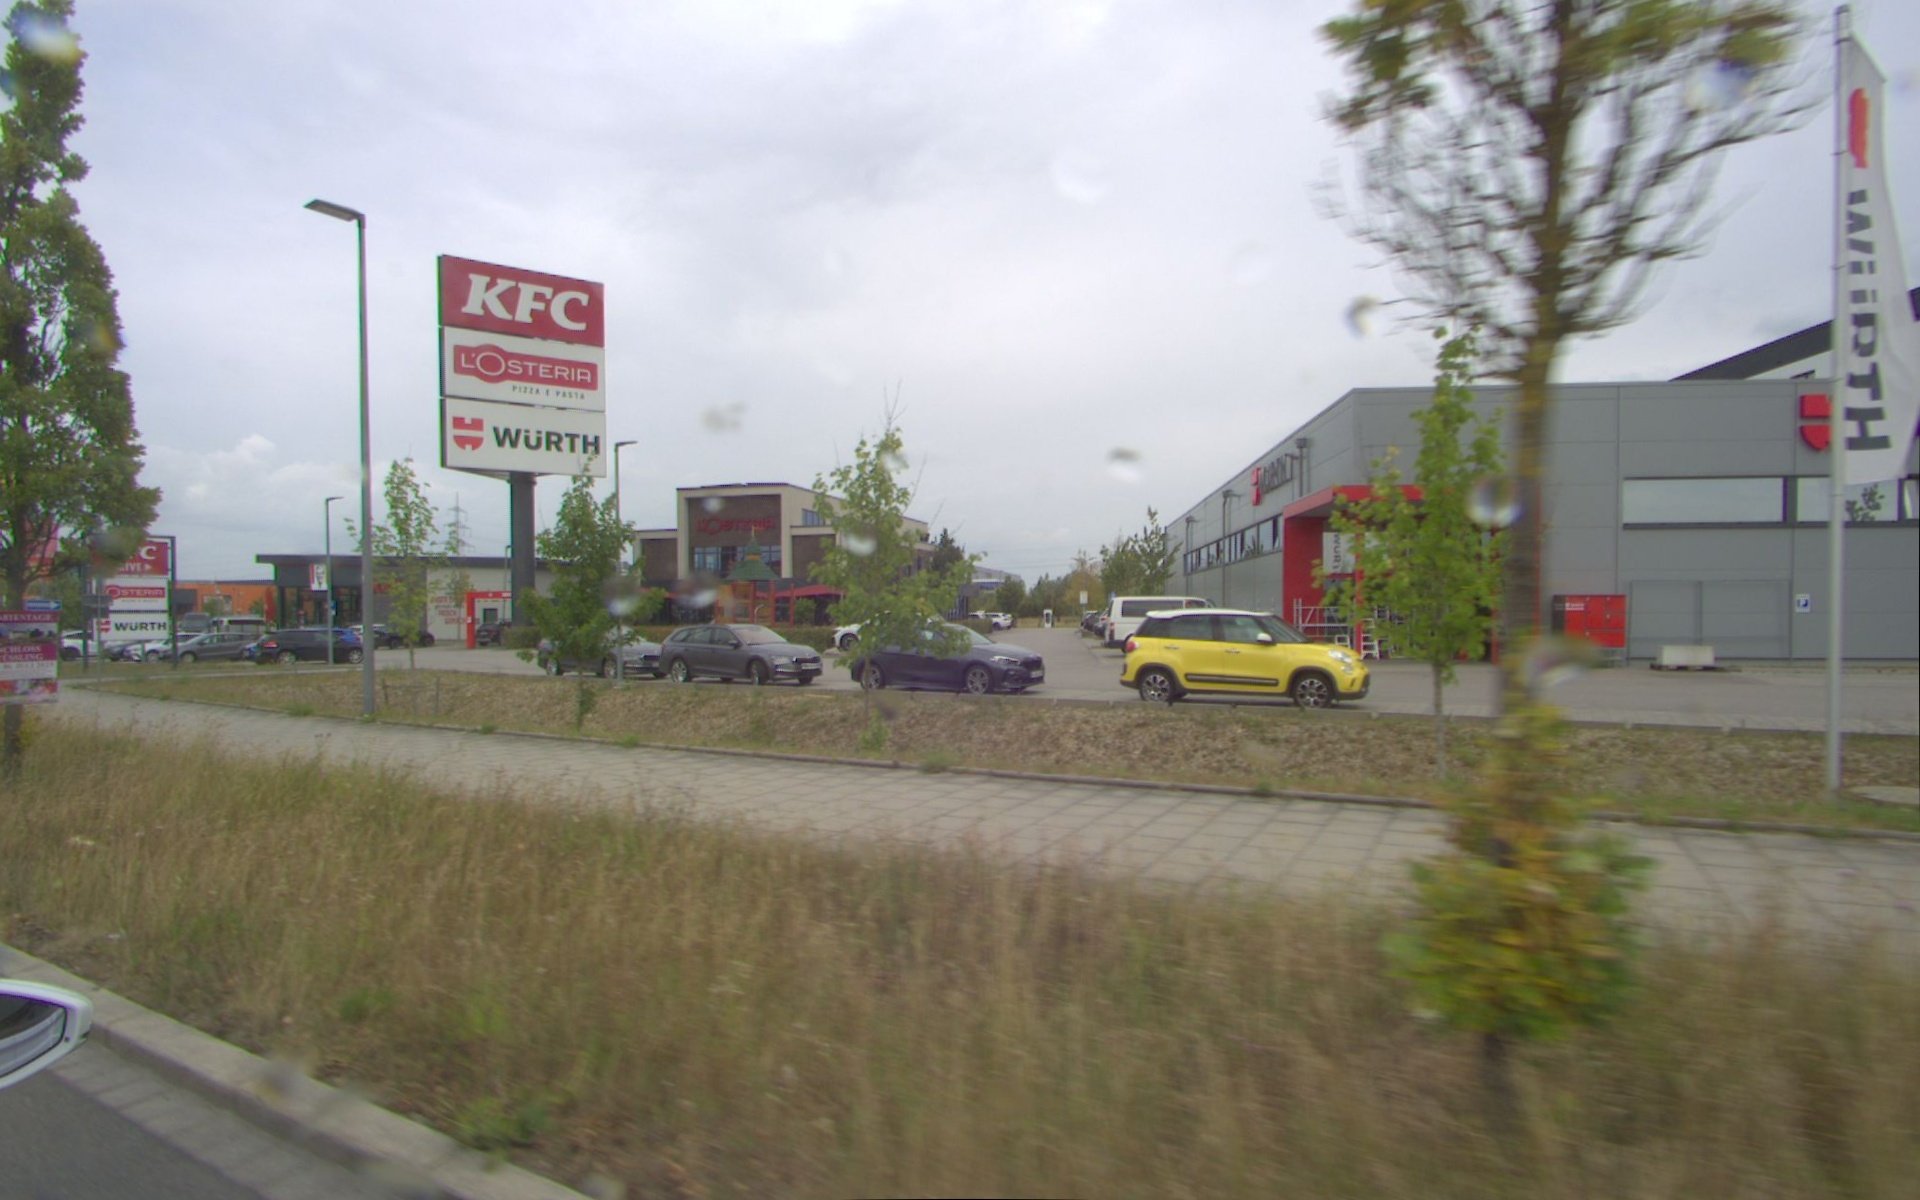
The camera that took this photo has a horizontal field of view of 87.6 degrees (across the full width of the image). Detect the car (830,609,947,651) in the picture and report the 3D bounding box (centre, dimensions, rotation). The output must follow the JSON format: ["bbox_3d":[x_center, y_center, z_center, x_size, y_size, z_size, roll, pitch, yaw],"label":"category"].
[{"bbox_3d":[-3.042,1.277,42.963,4.700,1.719,2.000,0,0,8],"label":"car"}]

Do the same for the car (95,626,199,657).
[{"bbox_3d":[-44.521,2.247,54.922,1.912,1.504,3.981,-1,-1,30],"label":"car"}]

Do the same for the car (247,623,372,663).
[{"bbox_3d":[-27.096,1.751,41.793,1.957,1.513,3.971,-1,-1,38],"label":"car"}]

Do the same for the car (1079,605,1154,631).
[{"bbox_3d":[9.696,1.098,62.232,4.488,1.539,2.080,-1,0,9],"label":"car"}]

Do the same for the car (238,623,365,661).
[{"bbox_3d":[-28.771,1.788,43.832,1.940,1.540,4.249,-1,-1,36],"label":"car"}]

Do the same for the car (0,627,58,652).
[{"bbox_3d":[-58.041,2.412,61.063,1.909,1.457,4.088,0,0,20],"label":"car"}]

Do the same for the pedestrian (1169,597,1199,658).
[{"bbox_3d":[7.162,0.870,31.982,0.793,1.893,0.609,0,0,-42],"label":"pedestrian"}]

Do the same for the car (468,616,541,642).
[{"bbox_3d":[-29.873,1.907,65.783,1.862,1.539,4.570,-1,0,15],"label":"car"}]

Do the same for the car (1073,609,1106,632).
[{"bbox_3d":[9.325,1.428,71.961,2.041,1.539,4.456,-1,0,11],"label":"car"}]

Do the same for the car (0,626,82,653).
[{"bbox_3d":[-55.515,2.354,59.568,1.997,1.488,4.521,0,0,22],"label":"car"}]

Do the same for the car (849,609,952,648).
[{"bbox_3d":[-2.679,1.292,45.646,4.450,1.700,2.133,0,-1,4],"label":"car"}]

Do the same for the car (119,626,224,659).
[{"bbox_3d":[-40.742,2.184,51.837,1.875,1.501,3.853,-1,1,32],"label":"car"}]

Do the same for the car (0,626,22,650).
[{"bbox_3d":[-62.475,2.430,63.090,2.037,1.455,4.474,0,0,18],"label":"car"}]

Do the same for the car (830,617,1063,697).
[{"bbox_3d":[-0.325,1.167,21.090,4.542,1.516,1.990,-2,-1,32],"label":"car"}]

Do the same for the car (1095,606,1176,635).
[{"bbox_3d":[9.984,1.163,57.302,4.488,1.539,2.080,-1,0,9],"label":"car"}]

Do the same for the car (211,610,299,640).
[{"bbox_3d":[-59.517,2.087,84.632,2.491,2.382,5.680,0,0,20],"label":"car"}]

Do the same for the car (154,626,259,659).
[{"bbox_3d":[-36.877,2.058,49.076,1.864,1.513,3.749,-1,-1,33],"label":"car"}]

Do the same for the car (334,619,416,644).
[{"bbox_3d":[-39.520,2.094,67.782,2.043,1.539,4.568,-1,0,17],"label":"car"}]

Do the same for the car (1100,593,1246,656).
[{"bbox_3d":[7.072,0.820,33.643,4.546,2.013,2.000,0,0,5],"label":"car"}]

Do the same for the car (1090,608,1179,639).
[{"bbox_3d":[9.216,1.214,53.148,4.487,1.539,2.080,-1,0,6],"label":"car"}]

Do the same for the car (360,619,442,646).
[{"bbox_3d":[-35.697,2.057,64.061,1.941,1.539,4.570,-1,0,15],"label":"car"}]

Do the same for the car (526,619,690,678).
[{"bbox_3d":[-9.889,1.287,27.984,4.767,1.479,1.956,-1,0,36],"label":"car"}]

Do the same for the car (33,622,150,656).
[{"bbox_3d":[-49.156,2.165,56.796,2.055,1.667,4.558,-1,1,26],"label":"car"}]

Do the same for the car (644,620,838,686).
[{"bbox_3d":[-5.442,1.237,24.613,4.812,1.456,1.859,-1,0,34],"label":"car"}]

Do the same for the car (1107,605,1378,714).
[{"bbox_3d":[4.915,0.962,17.474,4.339,1.708,1.762,0,0,25],"label":"car"}]
